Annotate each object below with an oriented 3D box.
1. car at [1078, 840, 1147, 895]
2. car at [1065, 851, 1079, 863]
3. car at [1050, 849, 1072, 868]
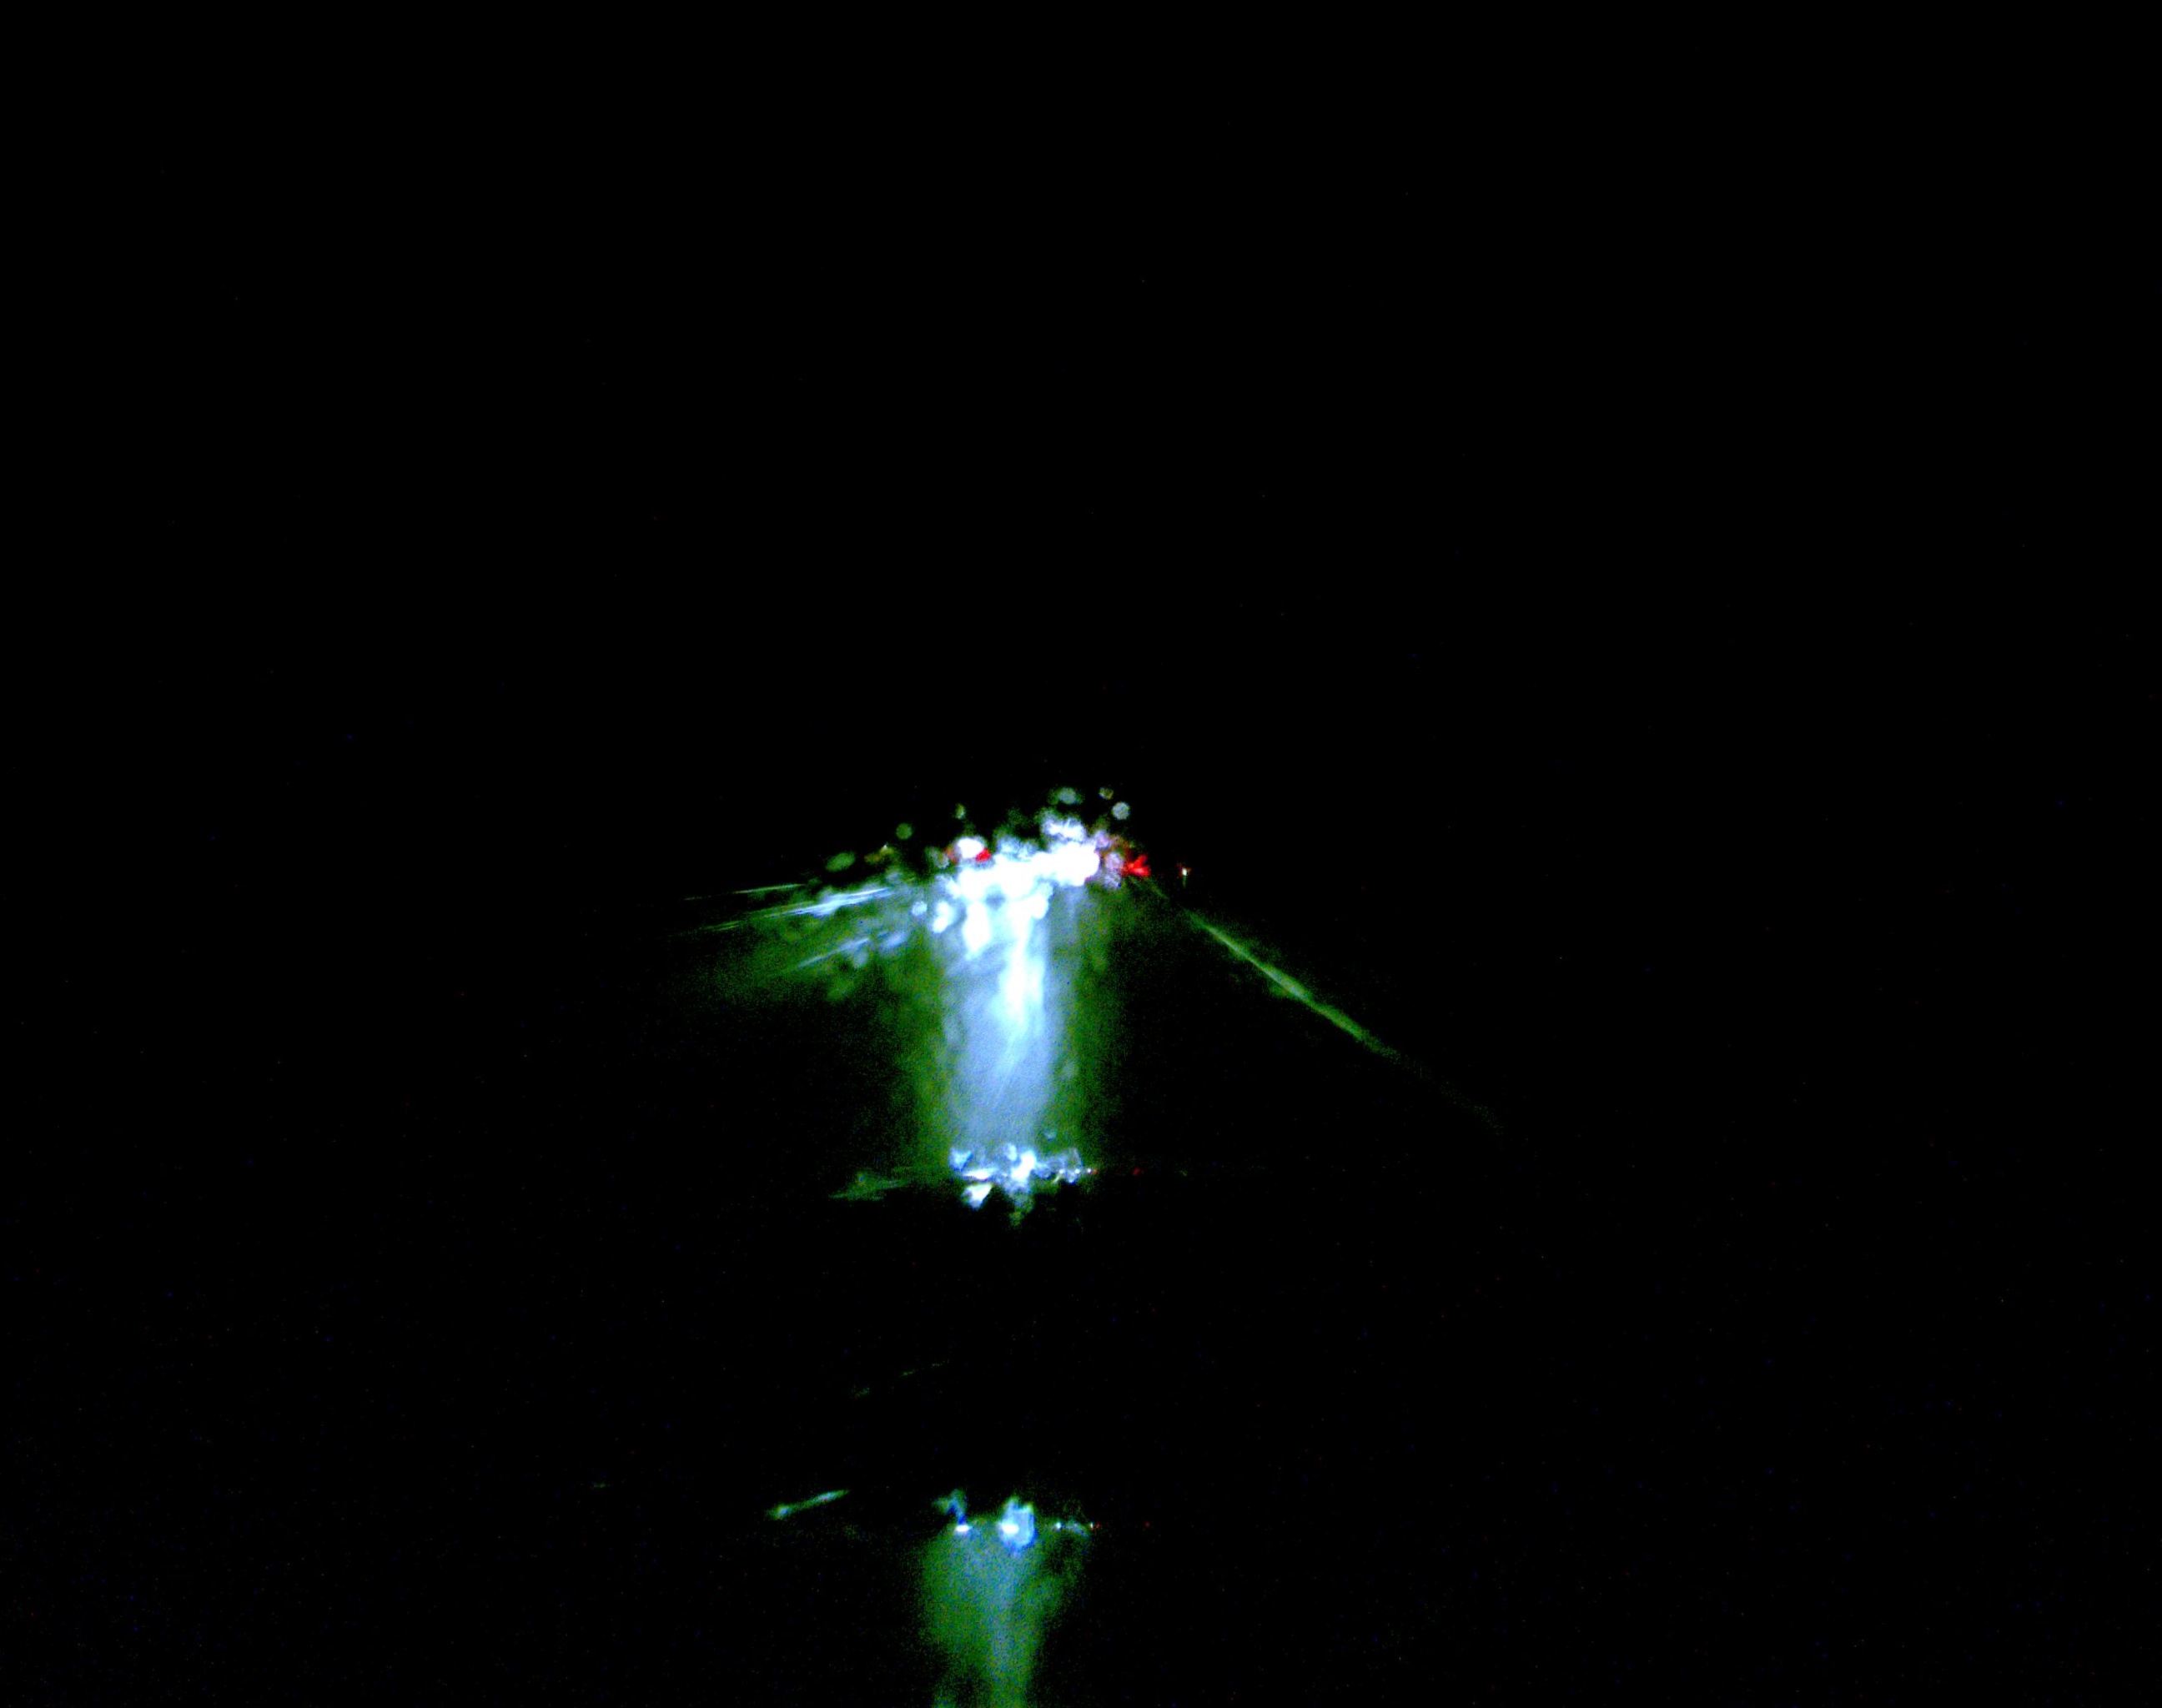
[{"bbox_3d":[1.244,0.470,31.852,2.448,1.958,4.915,1,0,3],"label":"car"},{"bbox_3d":[-1.203,0.422,114.347,1.759,1.519,4.491,-3,0,1],"label":"car"},{"bbox_3d":[-1.819,0.429,75.629,1.798,1.627,4.407,-2,0,1],"label":"car"}]
